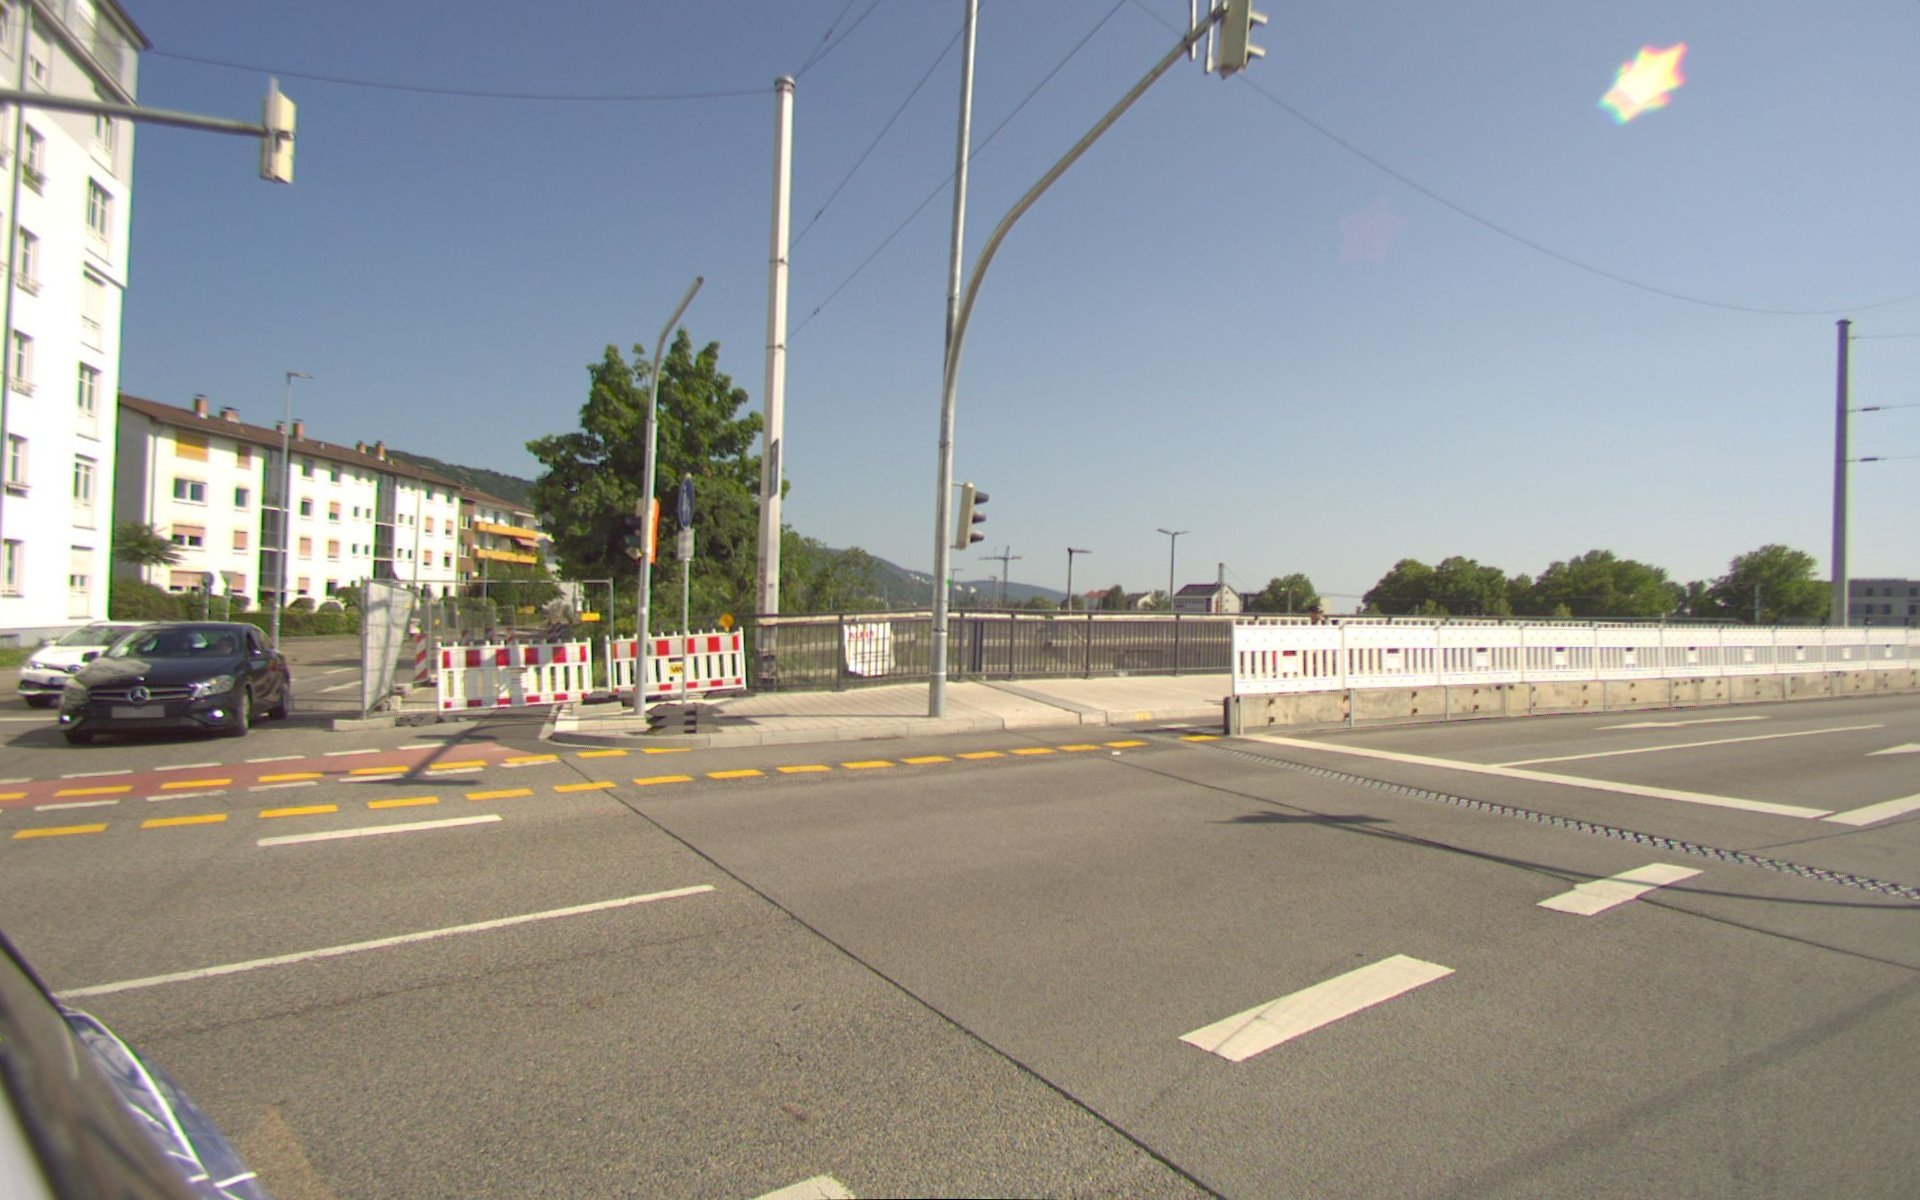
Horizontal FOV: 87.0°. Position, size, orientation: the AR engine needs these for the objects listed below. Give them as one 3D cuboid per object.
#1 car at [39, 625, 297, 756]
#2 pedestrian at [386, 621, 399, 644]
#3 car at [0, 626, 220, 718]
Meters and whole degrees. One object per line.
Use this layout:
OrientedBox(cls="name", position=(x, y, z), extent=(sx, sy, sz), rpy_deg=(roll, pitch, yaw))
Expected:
OrientedBox(cls="car", position=(-10.224, 1.060, 13.472), extent=(1.674, 1.419, 4.637), rpy_deg=(0, -2, -25))
OrientedBox(cls="pedestrian", position=(-38.385, 2.177, 68.487), extent=(0.598, 1.520, 0.773), rpy_deg=(1, -1, -17))
OrientedBox(cls="car", position=(-15.138, 1.191, 18.334), extent=(1.673, 1.423, 4.500), rpy_deg=(0, -1, -21))
